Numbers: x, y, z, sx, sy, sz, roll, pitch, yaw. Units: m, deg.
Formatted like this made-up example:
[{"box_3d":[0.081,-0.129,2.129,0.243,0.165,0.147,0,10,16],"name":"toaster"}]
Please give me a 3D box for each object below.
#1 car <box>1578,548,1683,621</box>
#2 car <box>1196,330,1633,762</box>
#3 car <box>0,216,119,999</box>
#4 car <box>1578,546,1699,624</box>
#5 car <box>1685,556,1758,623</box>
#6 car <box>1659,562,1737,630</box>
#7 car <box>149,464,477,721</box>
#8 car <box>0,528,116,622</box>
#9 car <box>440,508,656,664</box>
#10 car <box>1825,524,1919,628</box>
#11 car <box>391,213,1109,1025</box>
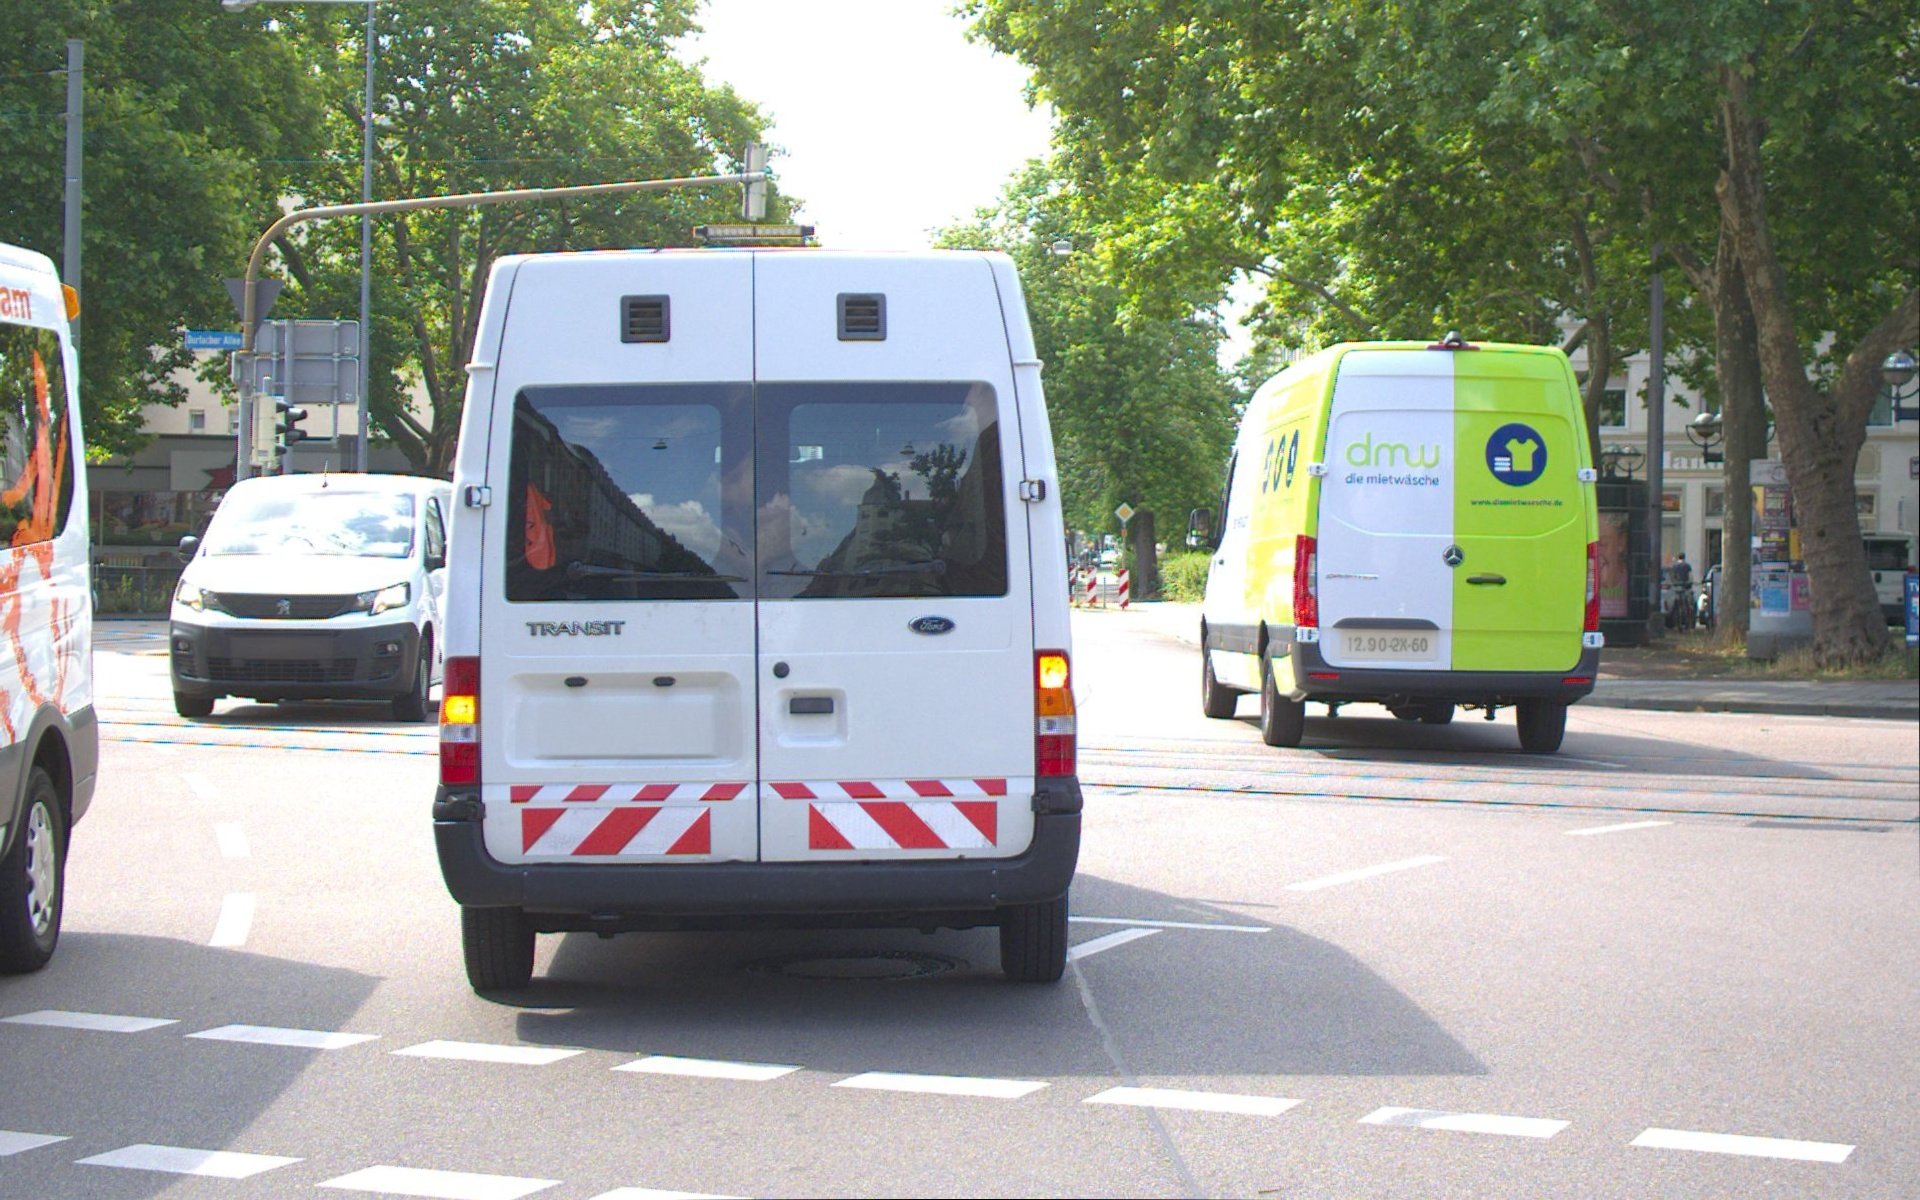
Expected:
[{"box_3d":[17.349,-0.403,88.801,1.907,1.789,4.716,1,1,21],"name":"car"},{"box_3d":[3.020,-0.396,24.388,2.119,2.632,6.329,1,1,-1],"name":"car"},{"box_3d":[-3.977,0.078,9.462,2.076,2.436,5.946,-1,2,-3],"name":"car"},{"box_3d":[15.377,-0.348,77.734,1.907,1.684,4.534,1,1,21],"name":"car"},{"box_3d":[19.503,-0.274,87.955,1.467,1.660,3.064,1,1,19],"name":"car"},{"box_3d":[15.666,-0.092,72.910,1.466,1.384,3.065,1,1,14],"name":"car"},{"box_3d":[-4.746,-0.127,25.778,1.812,1.769,4.284,0,2,-2],"name":"car"},{"box_3d":[-16.083,-0.424,57.355,3.565,1.539,1.557,0,1,-39],"name":"car"},{"box_3d":[-4.488,-0.199,38.000,1.770,1.577,4.020,1,2,2],"name":"car"},{"box_3d":[20.275,-0.531,75.077,1.996,2.175,4.252,1,1,24],"name":"car"},{"box_3d":[-0.769,0.001,12.297,2.047,2.325,4.715,1,1,-4],"name":"car"}]
